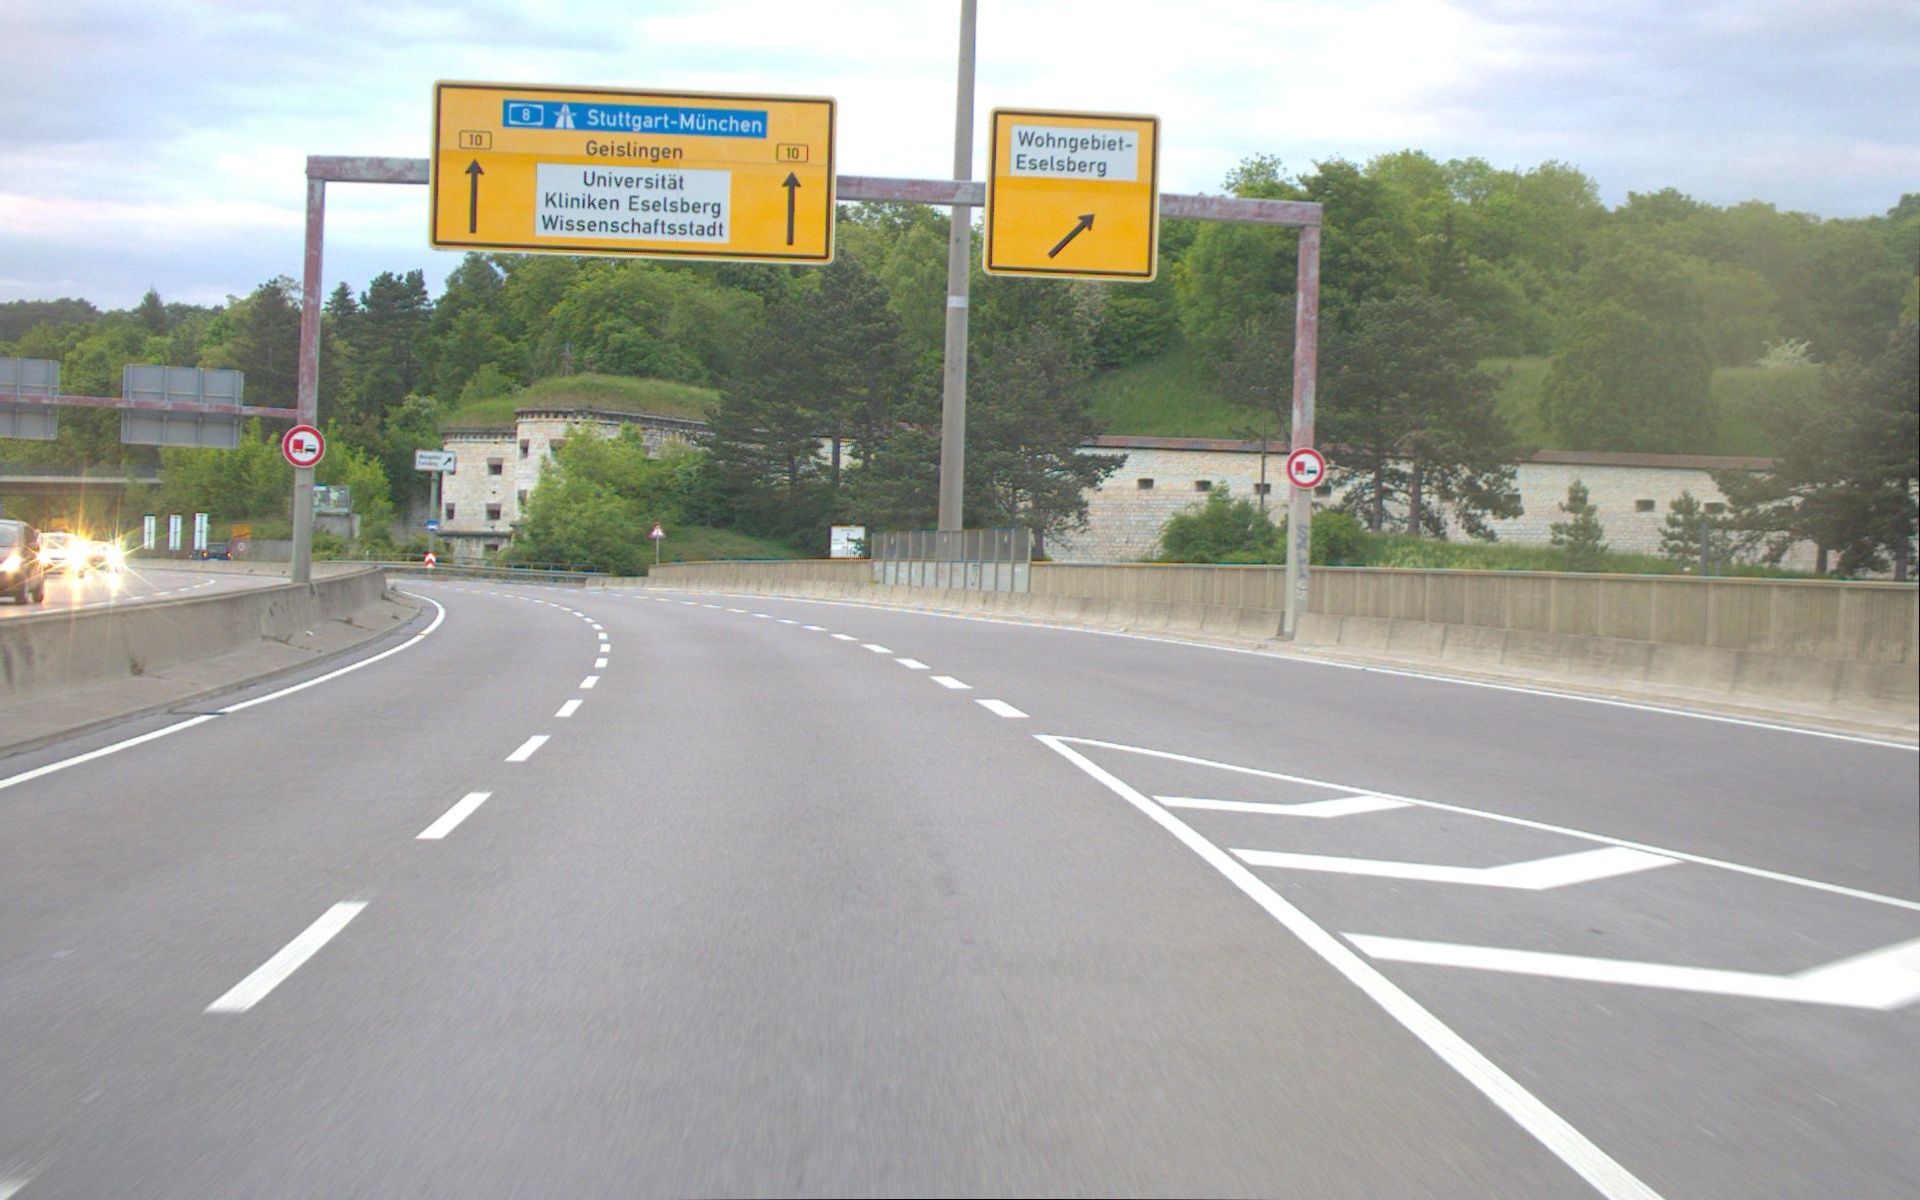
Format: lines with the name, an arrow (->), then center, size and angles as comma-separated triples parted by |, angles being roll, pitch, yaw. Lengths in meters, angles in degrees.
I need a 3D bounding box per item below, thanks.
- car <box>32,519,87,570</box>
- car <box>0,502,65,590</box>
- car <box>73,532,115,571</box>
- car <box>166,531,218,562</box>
car -> -31.760, -1.966, 121.308 | 1.667, 1.726, 4.001 | 1, 1, -12
car -> -16.761, -0.966, 59.891 | 1.730, 1.471, 4.225 | 1, 1, -8
car -> -38.924, -2.193, 154.555 | 1.667, 1.637, 4.002 | 0, 2, -12
car -> -47.831, -3.329, 214.133 | 1.993, 1.831, 4.000 | 2, -1, -31
